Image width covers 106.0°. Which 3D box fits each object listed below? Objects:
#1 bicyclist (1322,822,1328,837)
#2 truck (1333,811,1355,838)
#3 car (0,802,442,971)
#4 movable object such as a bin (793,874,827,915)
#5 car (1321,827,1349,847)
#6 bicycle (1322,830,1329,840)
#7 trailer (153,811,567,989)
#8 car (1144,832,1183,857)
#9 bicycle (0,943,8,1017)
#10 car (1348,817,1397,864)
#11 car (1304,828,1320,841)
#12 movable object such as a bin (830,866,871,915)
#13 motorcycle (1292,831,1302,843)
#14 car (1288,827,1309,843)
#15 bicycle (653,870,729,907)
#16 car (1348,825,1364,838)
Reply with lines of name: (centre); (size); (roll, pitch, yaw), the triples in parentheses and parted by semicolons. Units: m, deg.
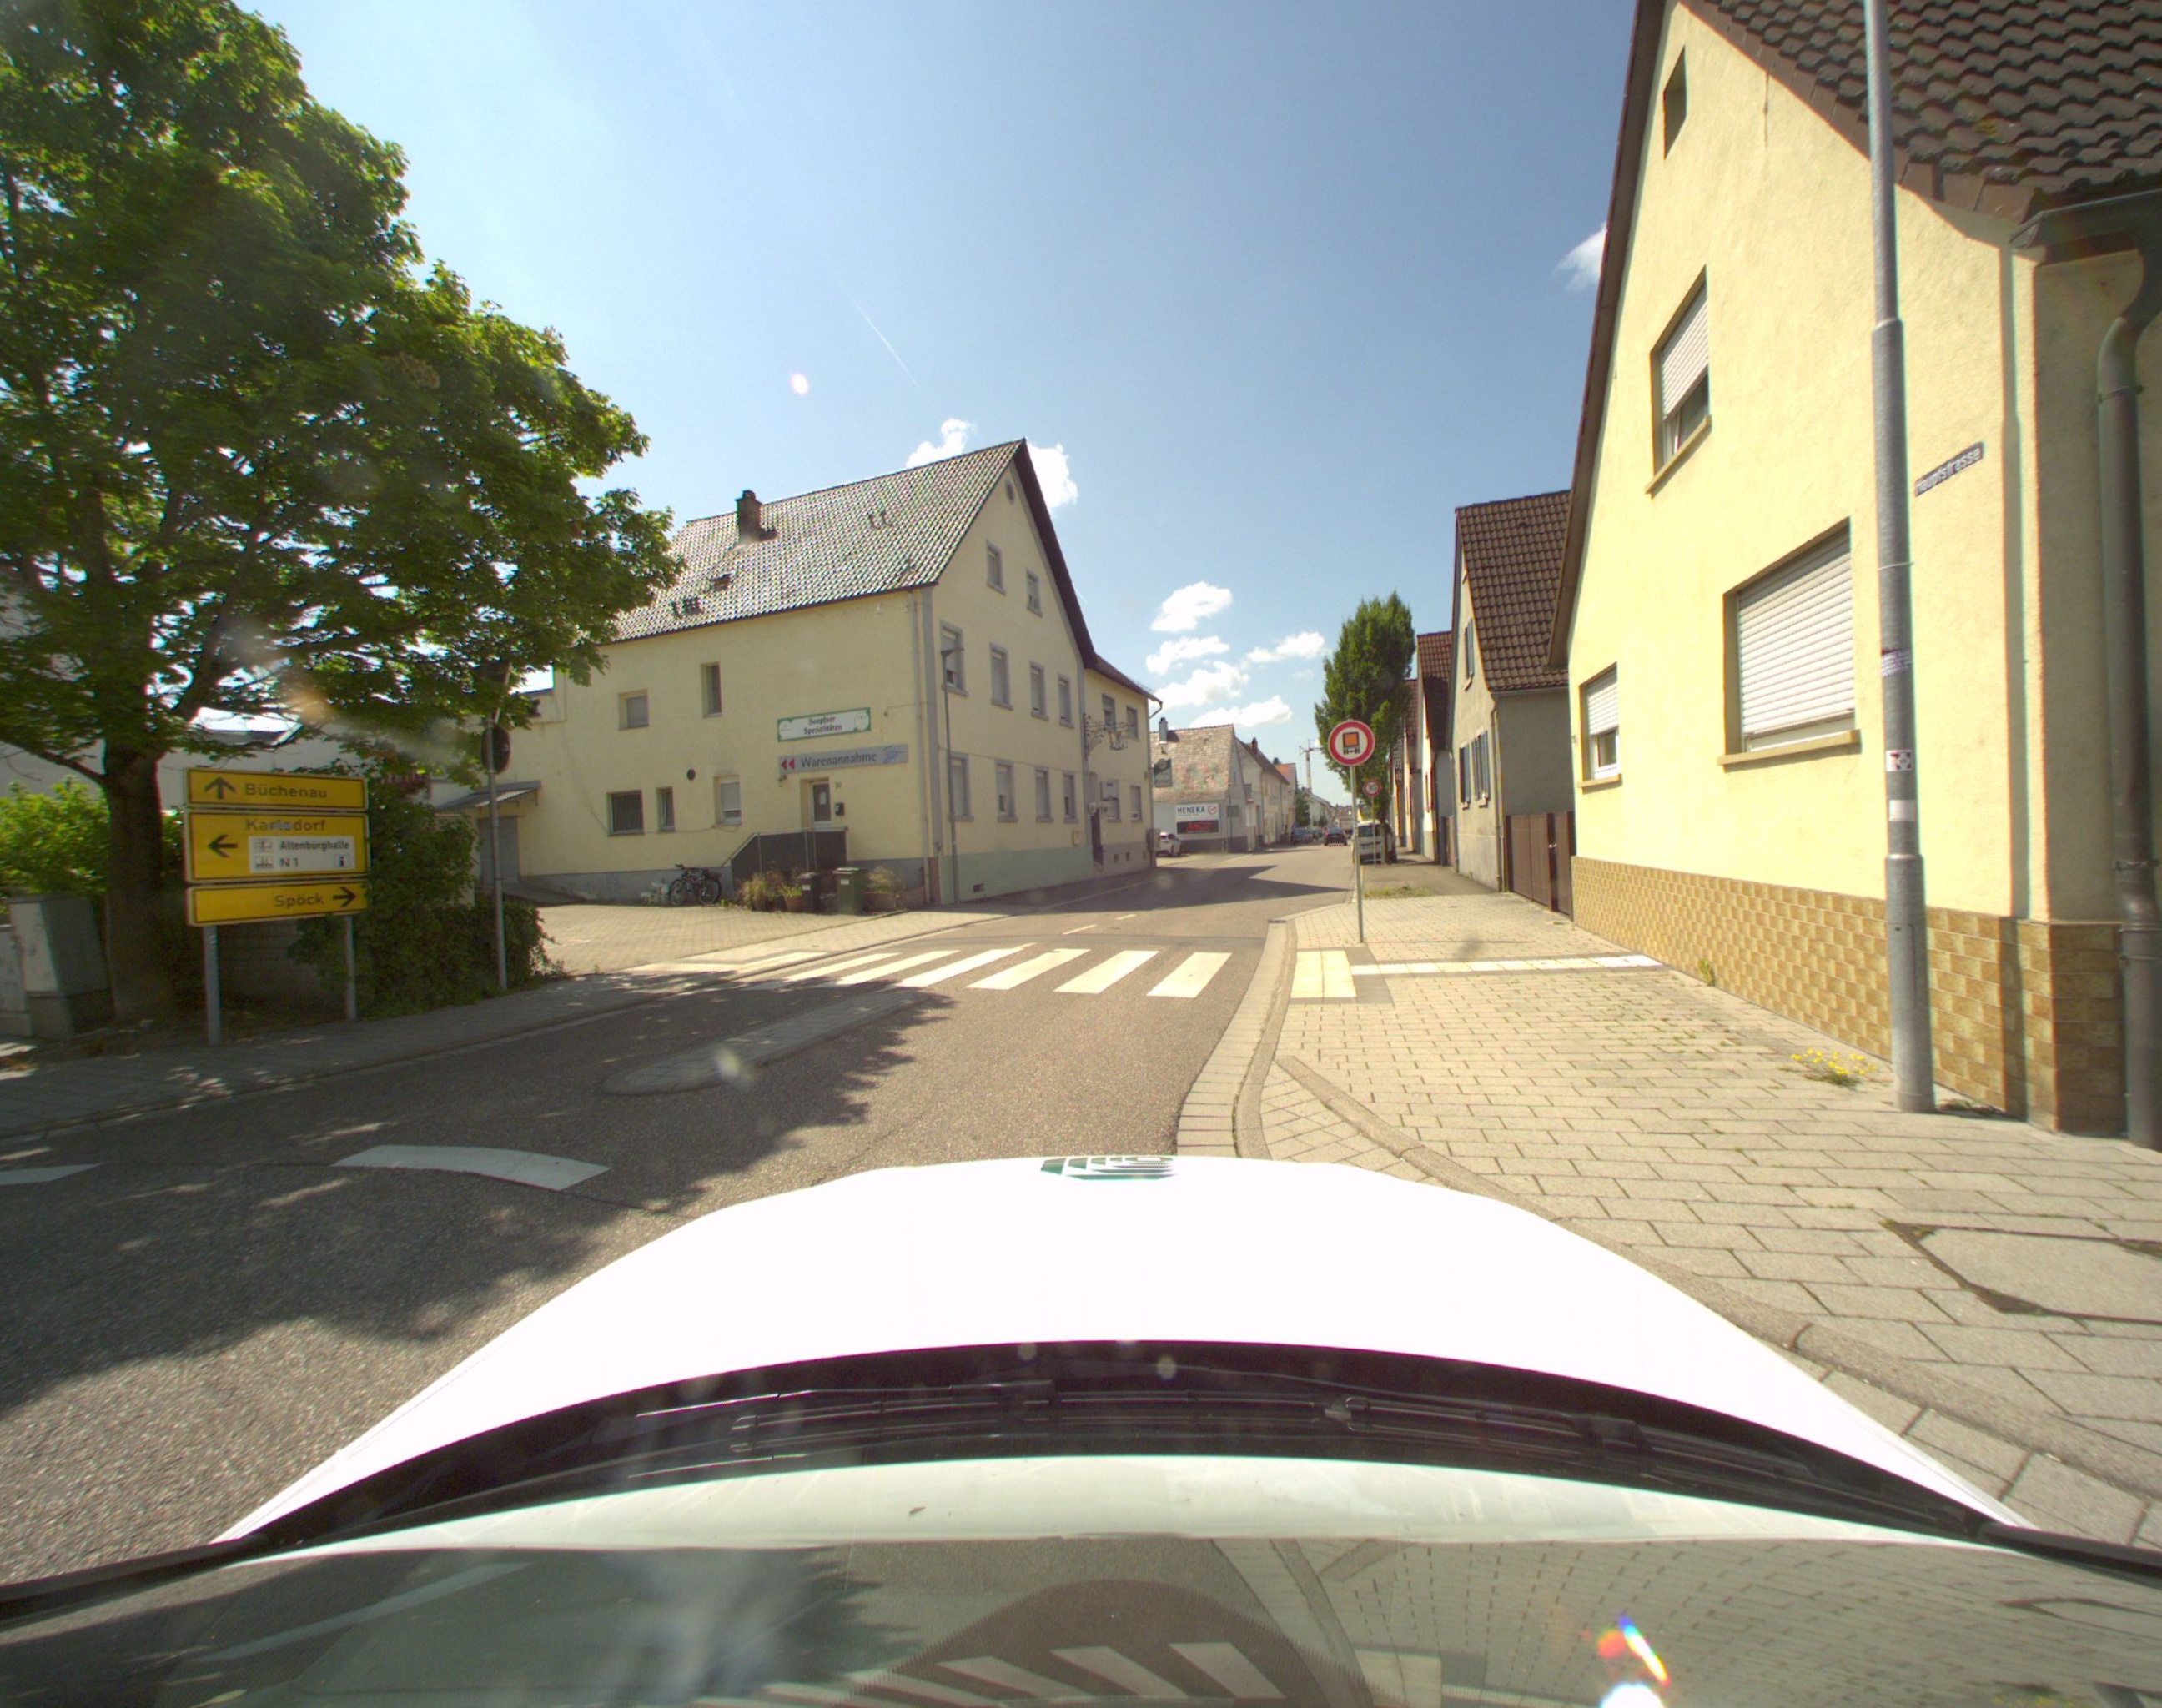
bicyclist: (34.518, -3.411, 115.112); (0.734, 2.059, 0.848); (-1, 1, 18)
truck: (44.376, -4.927, 137.150); (3.118, 4.250, 9.351); (-1, 1, 21)
car: (-15.803, 0.416, 15.352); (1.920, 2.566, 5.676); (-1, 2, 20)
movable object such as a bin: (-6.399, 0.960, 19.269); (0.475, 0.928, 0.550); (-3, 1, 22)
car: (21.407, -1.476, 68.535); (1.886, 1.563, 4.500); (-2, 1, 20)
bicycle: (34.562, -2.684, 115.154); (0.745, 1.307, 2.698); (-1, 1, 19)
trailer: (-11.117, 0.539, 13.085); (1.863, 2.335, 4.547); (-1, 2, 20)
car: (5.529, -0.689, 54.182); (1.706, 1.556, 4.219); (-1, 2, 18)
bicycle: (-12.612, 1.411, 8.322); (0.397, 1.003, 1.987); (-3, 3, 8)
car: (12.245, -0.598, 34.415); (1.706, 1.790, 4.163); (-4, 1, 18)
car: (30.889, -2.579, 108.732); (1.794, 1.589, 4.020); (-2, 1, 19)
movable object such as a bin: (-5.388, 0.846, 19.054); (0.594, 1.078, 0.662); (-3, 1, 22)
motorcycle: (21.599, -1.673, 81.442); (0.839, 1.169, 2.481); (-1, 1, 18)
car: (22.743, -1.978, 85.132); (1.794, 1.589, 4.020); (-2, 1, 19)
bicycle: (-10.653, 0.949, 22.229); (2.150, 0.913, 0.545); (-3, 1, 24)
car: (32.753, -2.693, 96.923); (1.705, 1.355, 4.178); (-2, 1, 19)
